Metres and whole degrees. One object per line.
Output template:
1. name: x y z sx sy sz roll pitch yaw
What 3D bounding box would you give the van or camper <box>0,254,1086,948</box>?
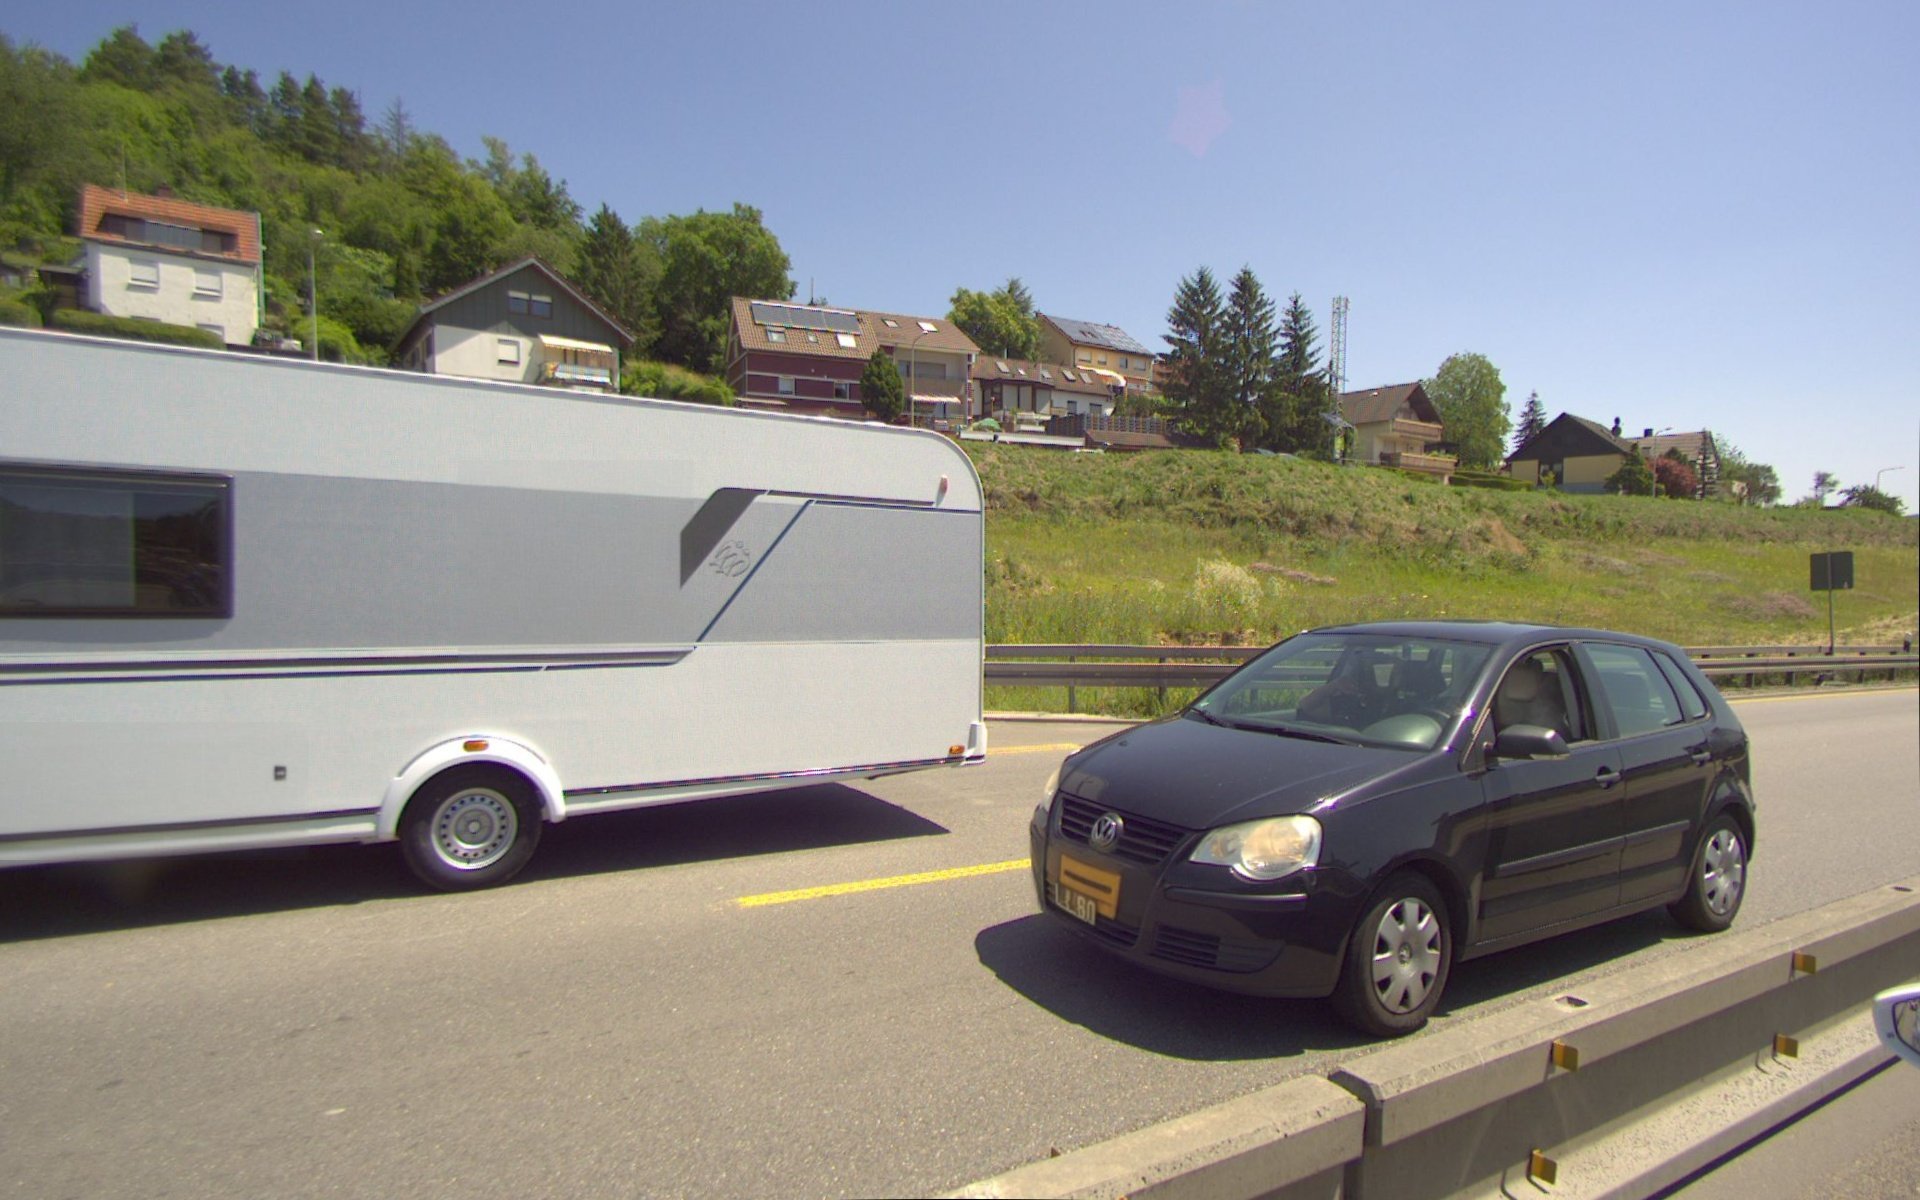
1. van or camper: -3.090 0.028 5.695 7.767 2.712 2.345 1 0 -31

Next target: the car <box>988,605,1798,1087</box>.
1. car: 2.164 0.788 4.751 3.775 1.432 1.657 1 0 -32

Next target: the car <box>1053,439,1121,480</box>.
1. car: 8.291 -9.135 65.769 3.947 2.040 1.987 3 -1 -25
